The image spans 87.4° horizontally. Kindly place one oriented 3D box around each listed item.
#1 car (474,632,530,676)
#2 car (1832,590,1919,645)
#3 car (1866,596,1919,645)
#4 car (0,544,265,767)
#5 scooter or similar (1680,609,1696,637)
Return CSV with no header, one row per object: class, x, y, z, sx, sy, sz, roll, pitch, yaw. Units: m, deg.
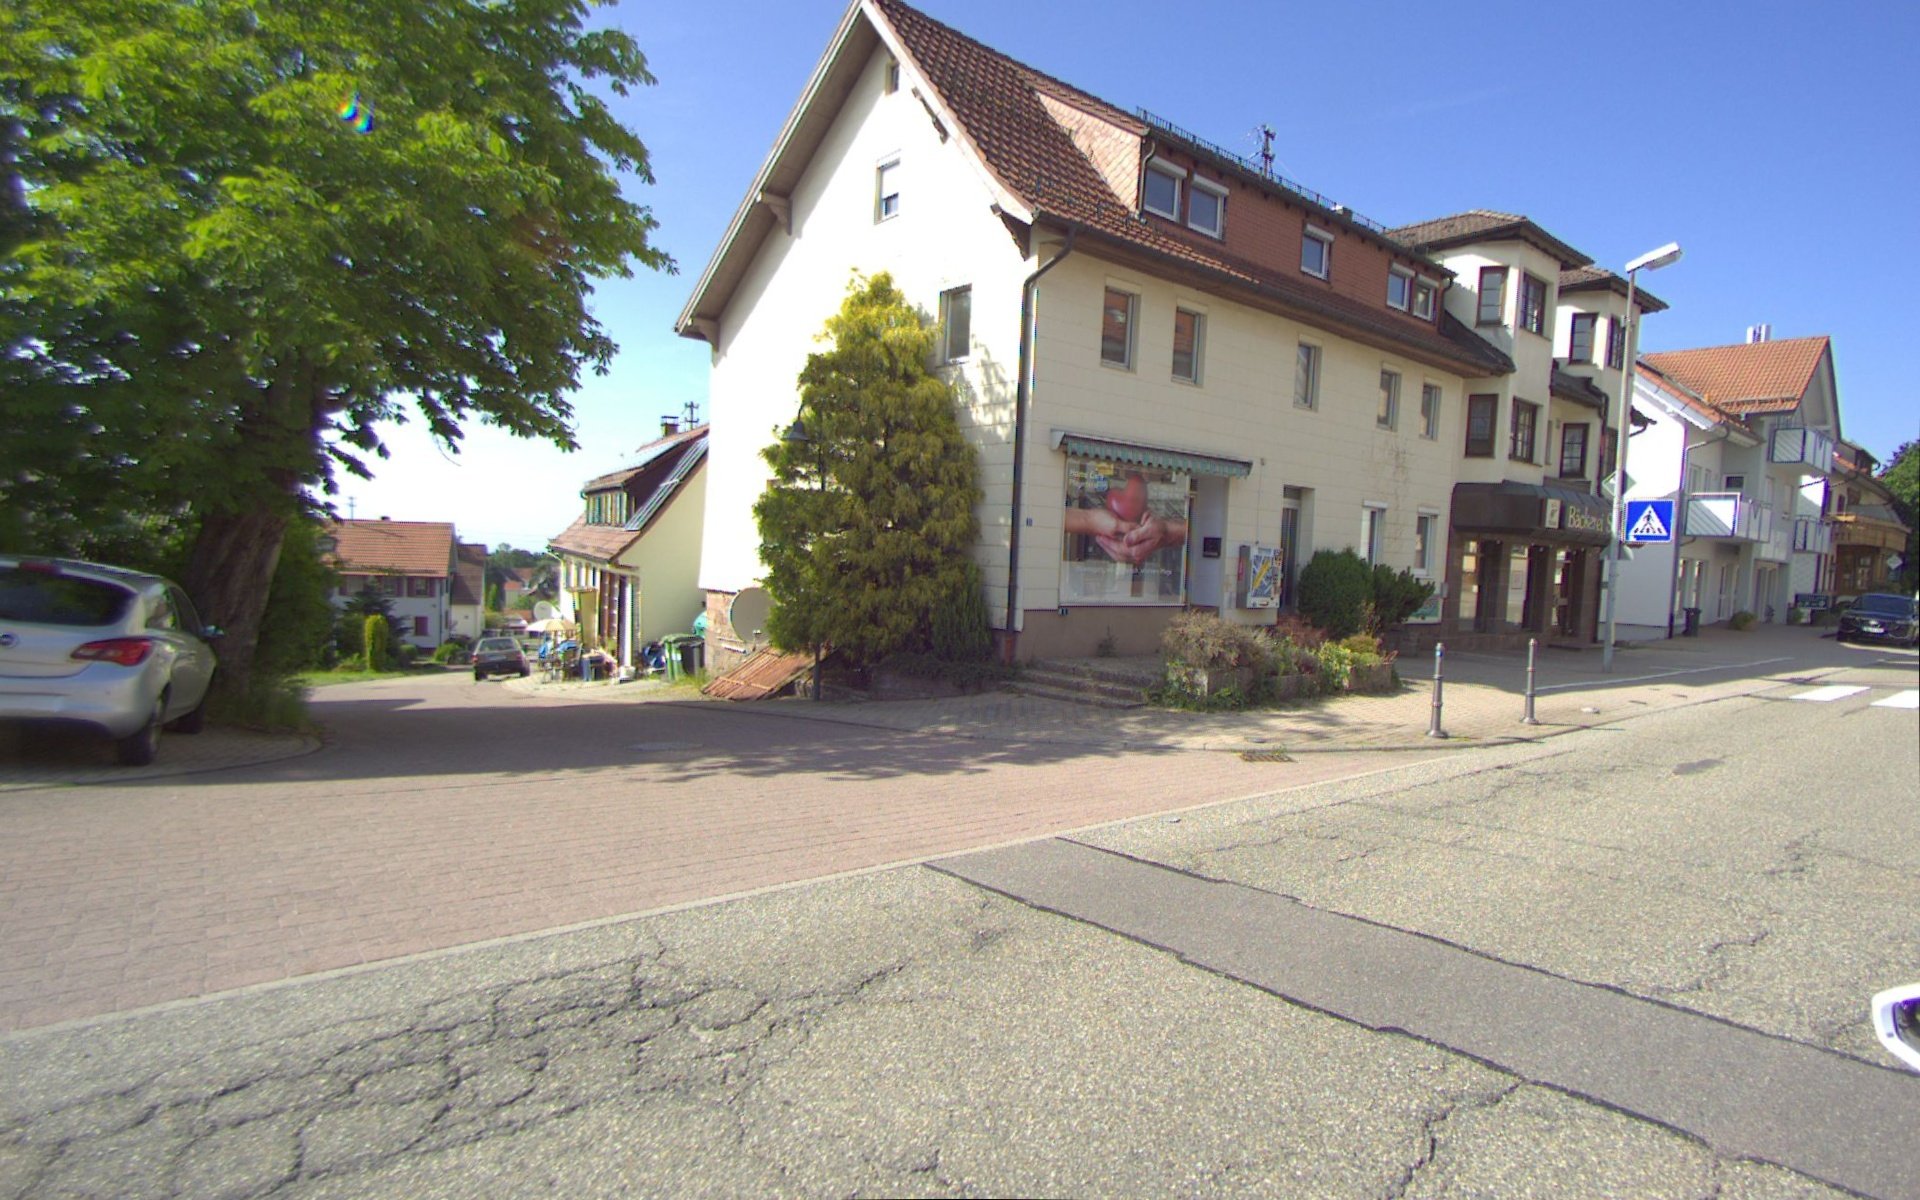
car,-16.604,1.932,36.509,1.739,1.483,3.978,0,-2,-24
car,30.666,0.551,33.507,3.505,1.554,1.659,0,7,-40
car,34.765,0.735,36.931,3.283,1.696,1.657,1,1,-39
car,-7.352,0.347,8.464,1.795,1.473,3.746,7,-2,-26
scooter or similar,23.861,0.735,32.914,0.348,0.902,0.392,2,1,45
